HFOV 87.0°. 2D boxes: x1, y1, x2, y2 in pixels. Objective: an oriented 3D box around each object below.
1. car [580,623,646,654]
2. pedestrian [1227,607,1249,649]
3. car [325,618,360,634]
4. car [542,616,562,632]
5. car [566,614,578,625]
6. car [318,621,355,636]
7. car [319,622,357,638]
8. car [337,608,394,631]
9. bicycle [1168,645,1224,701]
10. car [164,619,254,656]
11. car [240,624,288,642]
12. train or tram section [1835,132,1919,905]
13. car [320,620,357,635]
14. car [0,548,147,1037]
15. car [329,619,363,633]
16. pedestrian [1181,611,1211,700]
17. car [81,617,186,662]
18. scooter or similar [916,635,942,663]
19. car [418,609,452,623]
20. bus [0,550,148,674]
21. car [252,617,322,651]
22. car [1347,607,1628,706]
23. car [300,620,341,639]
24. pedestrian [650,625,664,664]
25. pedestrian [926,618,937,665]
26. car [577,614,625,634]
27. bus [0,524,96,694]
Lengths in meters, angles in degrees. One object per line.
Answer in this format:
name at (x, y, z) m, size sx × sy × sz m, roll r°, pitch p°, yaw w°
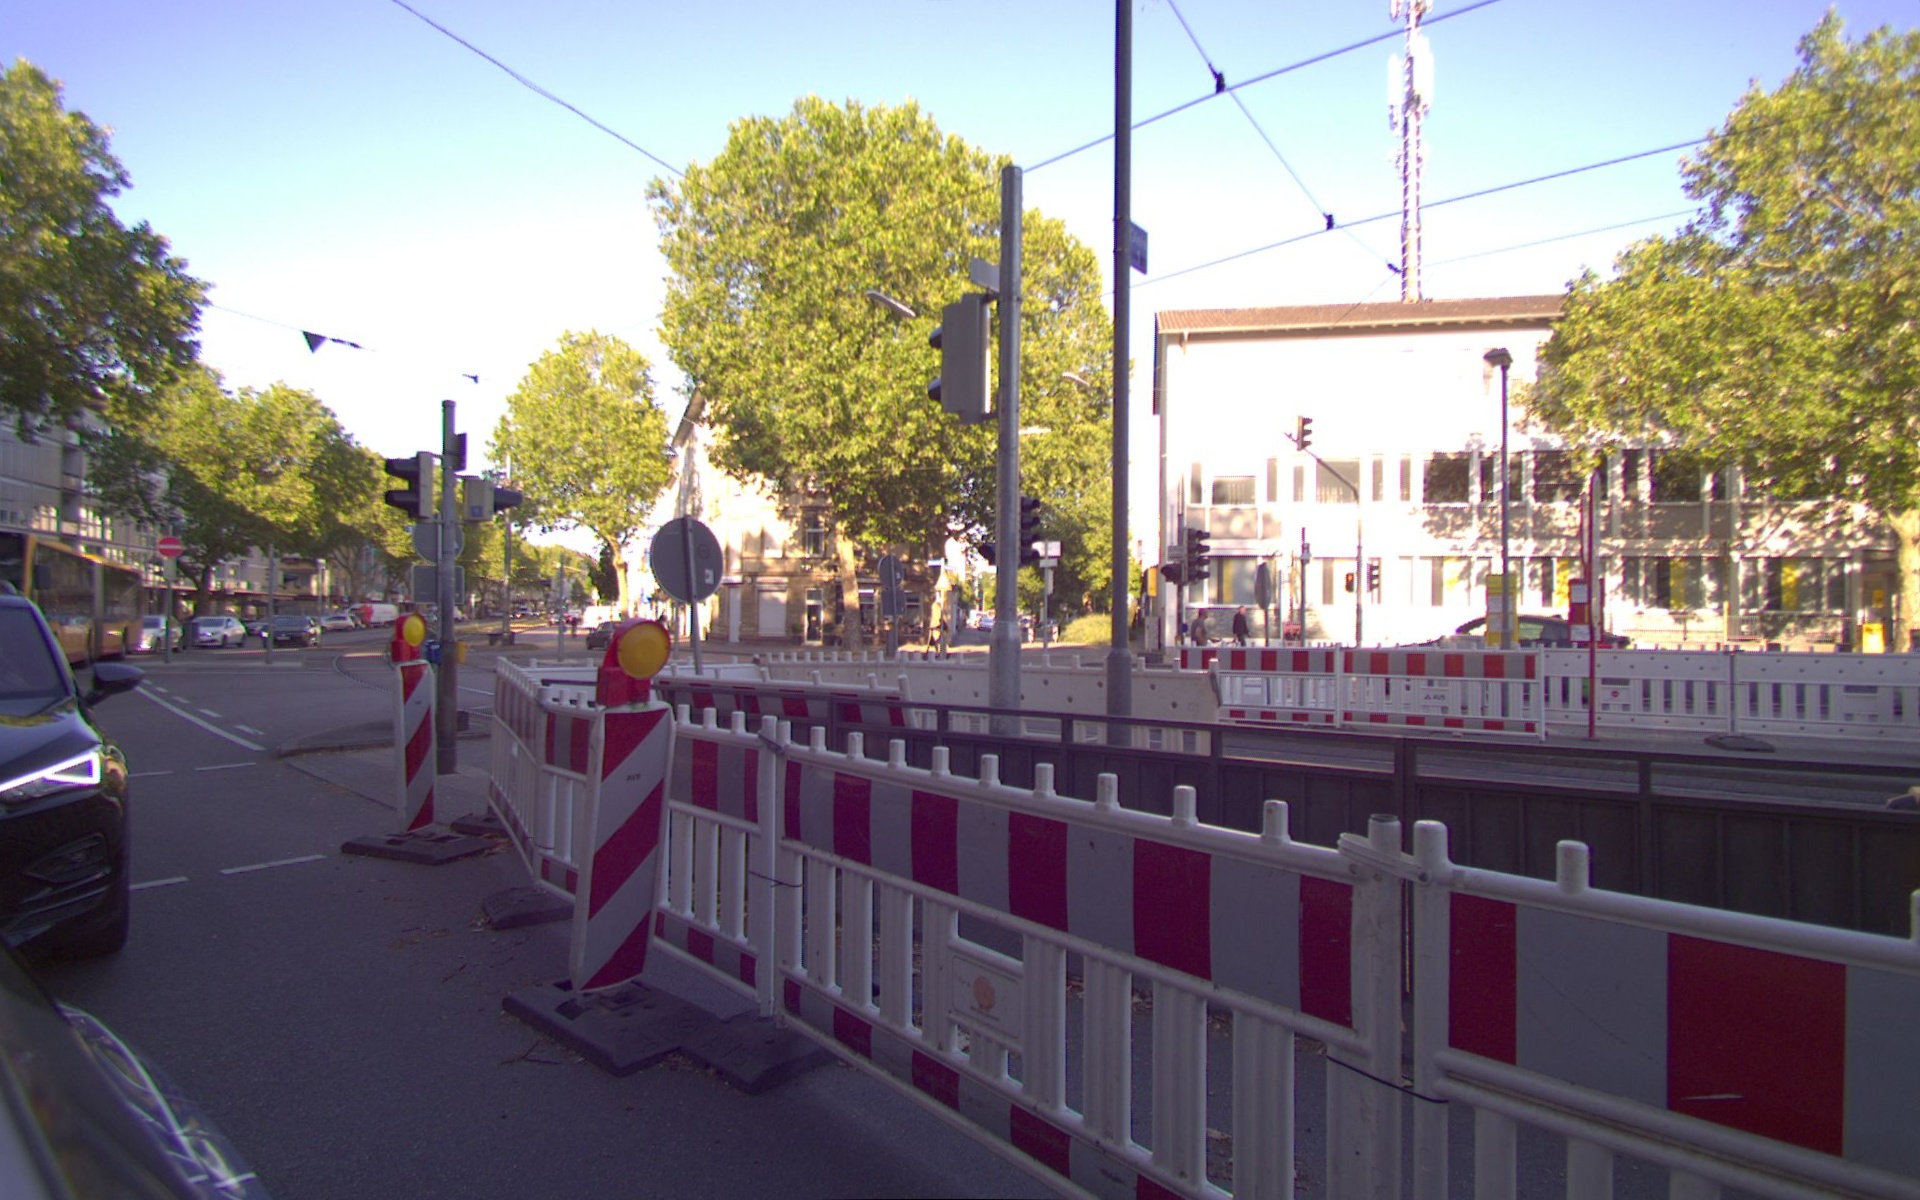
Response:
car at (-16.618, 1.811, 48.364) m, size 1.854 × 1.420 × 4.009 m, roll 1°, pitch -2°, yaw -37°
pedestrian at (9.096, 0.908, 33.105) m, size 0.626 × 1.367 × 0.531 m, roll -1°, pitch -2°, yaw 27°
car at (-58.153, 2.448, 95.278) m, size 1.201 × 1.399 × 2.592 m, roll 0°, pitch -1°, yaw 43°
car at (-48.507, 2.862, 120.415) m, size 1.965 × 1.881 × 4.012 m, roll 1°, pitch -1°, yaw -19°
car at (-67.858, 3.369, 176.965) m, size 1.875 × 1.918 × 4.013 m, roll 1°, pitch -1°, yaw -21°
car at (-54.929, 2.475, 89.182) m, size 1.201 × 1.290 × 2.592 m, roll 0°, pitch -1°, yaw 43°
car at (-53.568, 2.569, 87.142) m, size 1.201 × 1.290 × 2.592 m, roll 0°, pitch -1°, yaw 43°
car at (-61.621, 2.013, 105.008) m, size 1.873 × 2.394 × 4.817 m, roll 0°, pitch -1°, yaw 30°
bicycle at (4.723, 1.455, 20.272) m, size 1.086 × 1.101 × 0.243 m, roll 0°, pitch -2°, yaw 19°
car at (-34.602, 1.676, 46.782) m, size 1.923 × 1.562 × 4.771 m, roll 1°, pitch -1°, yaw -19°
car at (-50.904, 2.395, 74.037) m, size 1.198 × 1.226 × 2.599 m, roll 0°, pitch -1°, yaw 34°
train or tram section at (9.101, -0.377, 2.391) m, size 10.314 × 3.514 × 2.811 m, roll -1°, pitch -1°, yaw 35°
car at (-56.553, 2.487, 92.072) m, size 1.201 × 1.290 × 2.592 m, roll 0°, pitch -1°, yaw 43°
car at (-5.174, 0.690, 4.603) m, size 4.300 × 1.670 × 1.823 m, roll -1°, pitch -1°, yaw 45°
car at (-59.557, 2.484, 98.110) m, size 1.201 × 1.355 × 2.592 m, roll 0°, pitch -1°, yaw 43°
pedestrian at (4.629, 1.078, 19.867) m, size 0.539 × 1.710 × 0.515 m, roll 0°, pitch -2°, yaw 18°
car at (-30.598, 1.423, 37.622) m, size 1.880 × 1.486 × 4.433 m, roll 1°, pitch -1°, yaw -24°
scooter or similar at (-1.191, 1.891, 38.940) m, size 0.968 × 1.047 × 0.308 m, roll 0°, pitch -1°, yaw 0°
car at (-77.517, 2.408, 149.466) m, size 1.874 × 2.029 × 3.956 m, roll -1°, pitch -2°, yaw 32°
bus at (-26.359, 0.377, 29.804) m, size 2.708 × 3.127 × 9.523 m, roll 1°, pitch -2°, yaw -32°
car at (-31.643, 1.563, 47.702) m, size 1.923 × 1.486 × 4.772 m, roll 1°, pitch -1°, yaw -24°
car at (10.015, 0.994, 19.373) m, size 4.576 × 1.679 × 1.878 m, roll -1°, pitch 0°, yaw 35°
car at (-52.364, 2.405, 82.929) m, size 1.201 × 1.484 × 2.592 m, roll 0°, pitch -1°, yaw 43°
pedestrian at (-10.295, 1.501, 34.361) m, size 0.359 × 1.318 × 0.403 m, roll 1°, pitch -2°, yaw -32°
pedestrian at (-1.104, 1.595, 39.116) m, size 0.414 × 1.780 × 0.354 m, roll 0°, pitch -1°, yaw -1°
car at (-34.237, 2.300, 96.555) m, size 1.994 × 1.929 × 3.954 m, roll -1°, pitch -2°, yaw 33°
bus at (-21.053, 0.221, 21.955) m, size 2.710 × 3.127 × 9.519 m, roll 1°, pitch -2°, yaw -36°
